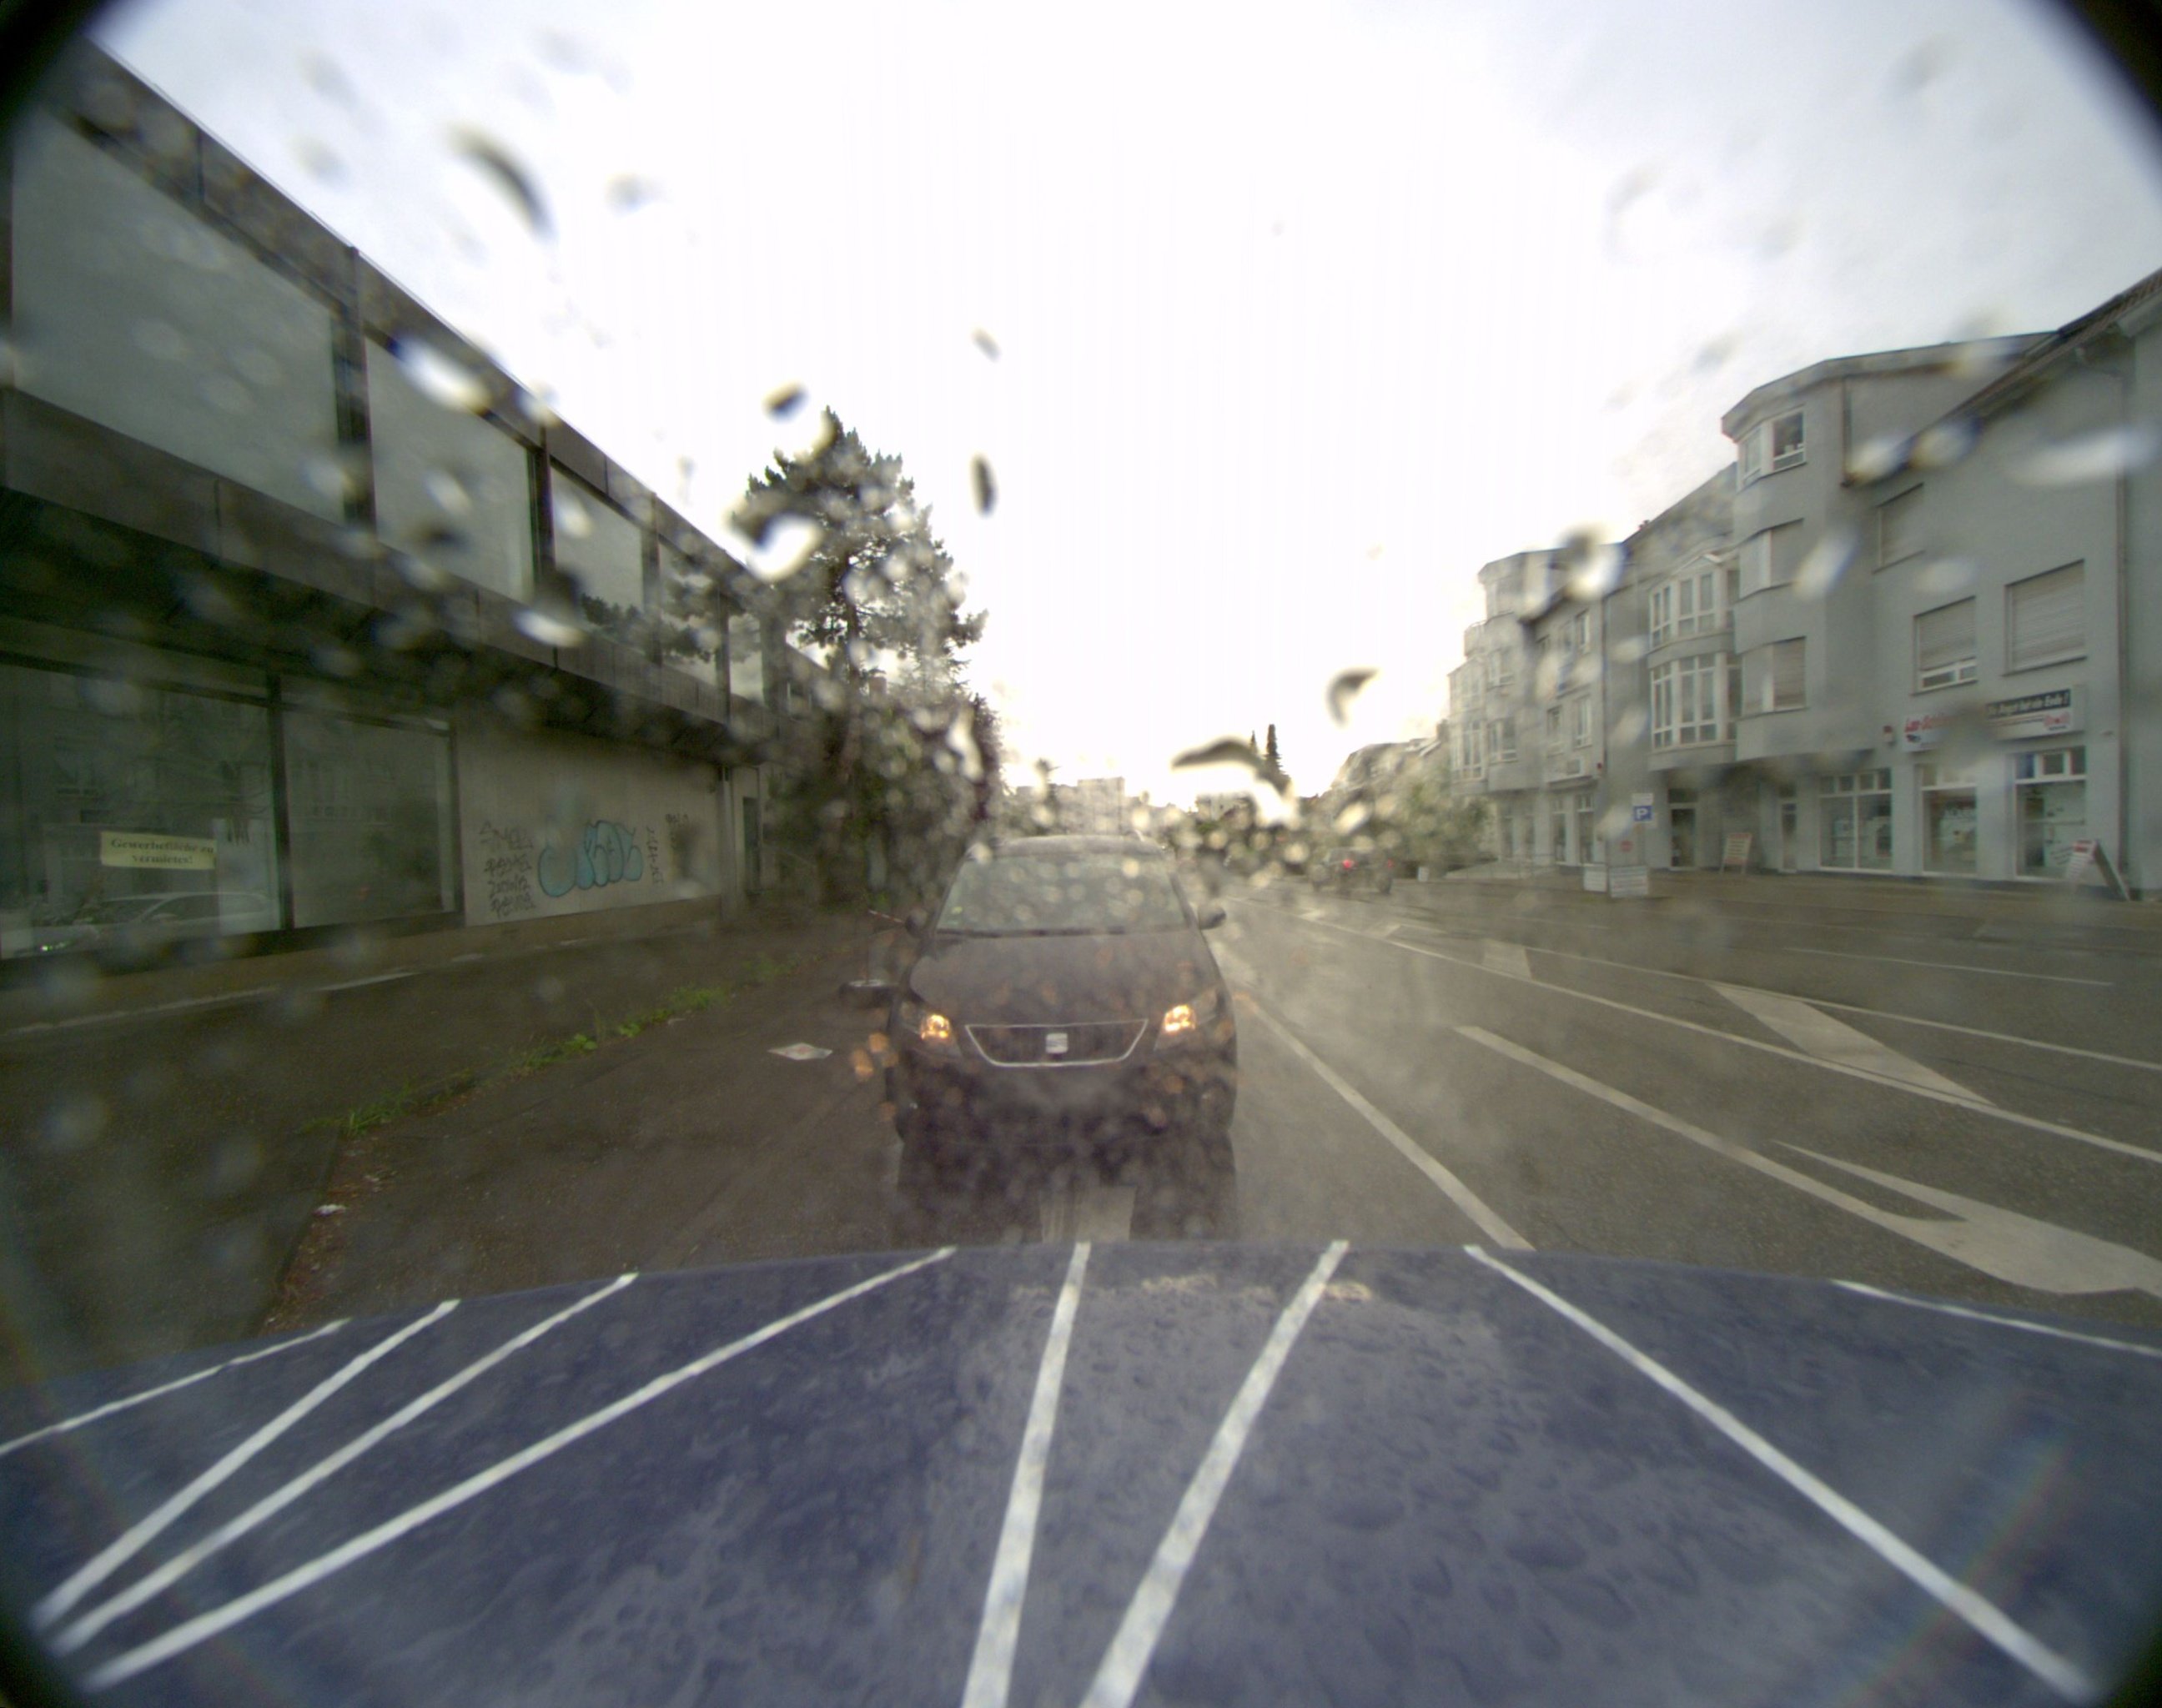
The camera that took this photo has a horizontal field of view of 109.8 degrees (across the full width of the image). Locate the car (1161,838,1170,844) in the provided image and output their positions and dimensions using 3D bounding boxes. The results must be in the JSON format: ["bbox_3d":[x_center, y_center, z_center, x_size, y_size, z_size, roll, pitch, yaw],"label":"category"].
[{"bbox_3d":[26.554,-4.119,238.686,1.996,1.808,4.003,-2,1,14],"label":"car"}]

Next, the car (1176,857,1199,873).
[{"bbox_3d":[10.850,1.087,77.534,1.971,1.503,4.000,-2,1,3],"label":"car"}]

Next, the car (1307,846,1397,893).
[{"bbox_3d":[9.935,0.546,28.205,1.883,1.588,4.185,-1,0,1],"label":"car"}]

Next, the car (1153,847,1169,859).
[{"bbox_3d":[12.051,-0.156,114.705,1.998,1.615,4.539,-2,0,1],"label":"car"}]

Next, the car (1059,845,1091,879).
[{"bbox_3d":[-0.366,0.477,50.405,1.998,2.072,3.999,-2,1,1],"label":"car"}]

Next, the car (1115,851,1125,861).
[{"bbox_3d":[8.304,0.329,161.298,1.998,2.002,3.999,-2,1,1],"label":"car"}]

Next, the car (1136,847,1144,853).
[{"bbox_3d":[15.906,-1.022,204.292,1.748,1.664,3.591,-2,1,1],"label":"car"}]

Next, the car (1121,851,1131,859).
[{"bbox_3d":[10.595,0.212,177.987,1.998,1.808,3.999,-2,1,1],"label":"car"}]

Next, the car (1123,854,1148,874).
[{"bbox_3d":[4.913,0.889,69.502,1.998,1.723,3.999,-2,1,1],"label":"car"}]

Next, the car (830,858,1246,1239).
[{"bbox_3d":[-0.152,0.851,5.597,1.754,1.534,4.676,-1,1,1],"label":"car"}]

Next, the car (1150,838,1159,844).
[{"bbox_3d":[23.372,-4.028,241.565,1.996,1.808,4.003,-2,1,14],"label":"car"}]

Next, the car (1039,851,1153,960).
[{"bbox_3d":[0.273,0.836,14.371,1.803,1.675,3.999,-2,1,1],"label":"car"}]

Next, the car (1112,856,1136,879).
[{"bbox_3d":[3.249,1.000,57.862,1.663,1.584,3.592,-2,0,0],"label":"car"}]
